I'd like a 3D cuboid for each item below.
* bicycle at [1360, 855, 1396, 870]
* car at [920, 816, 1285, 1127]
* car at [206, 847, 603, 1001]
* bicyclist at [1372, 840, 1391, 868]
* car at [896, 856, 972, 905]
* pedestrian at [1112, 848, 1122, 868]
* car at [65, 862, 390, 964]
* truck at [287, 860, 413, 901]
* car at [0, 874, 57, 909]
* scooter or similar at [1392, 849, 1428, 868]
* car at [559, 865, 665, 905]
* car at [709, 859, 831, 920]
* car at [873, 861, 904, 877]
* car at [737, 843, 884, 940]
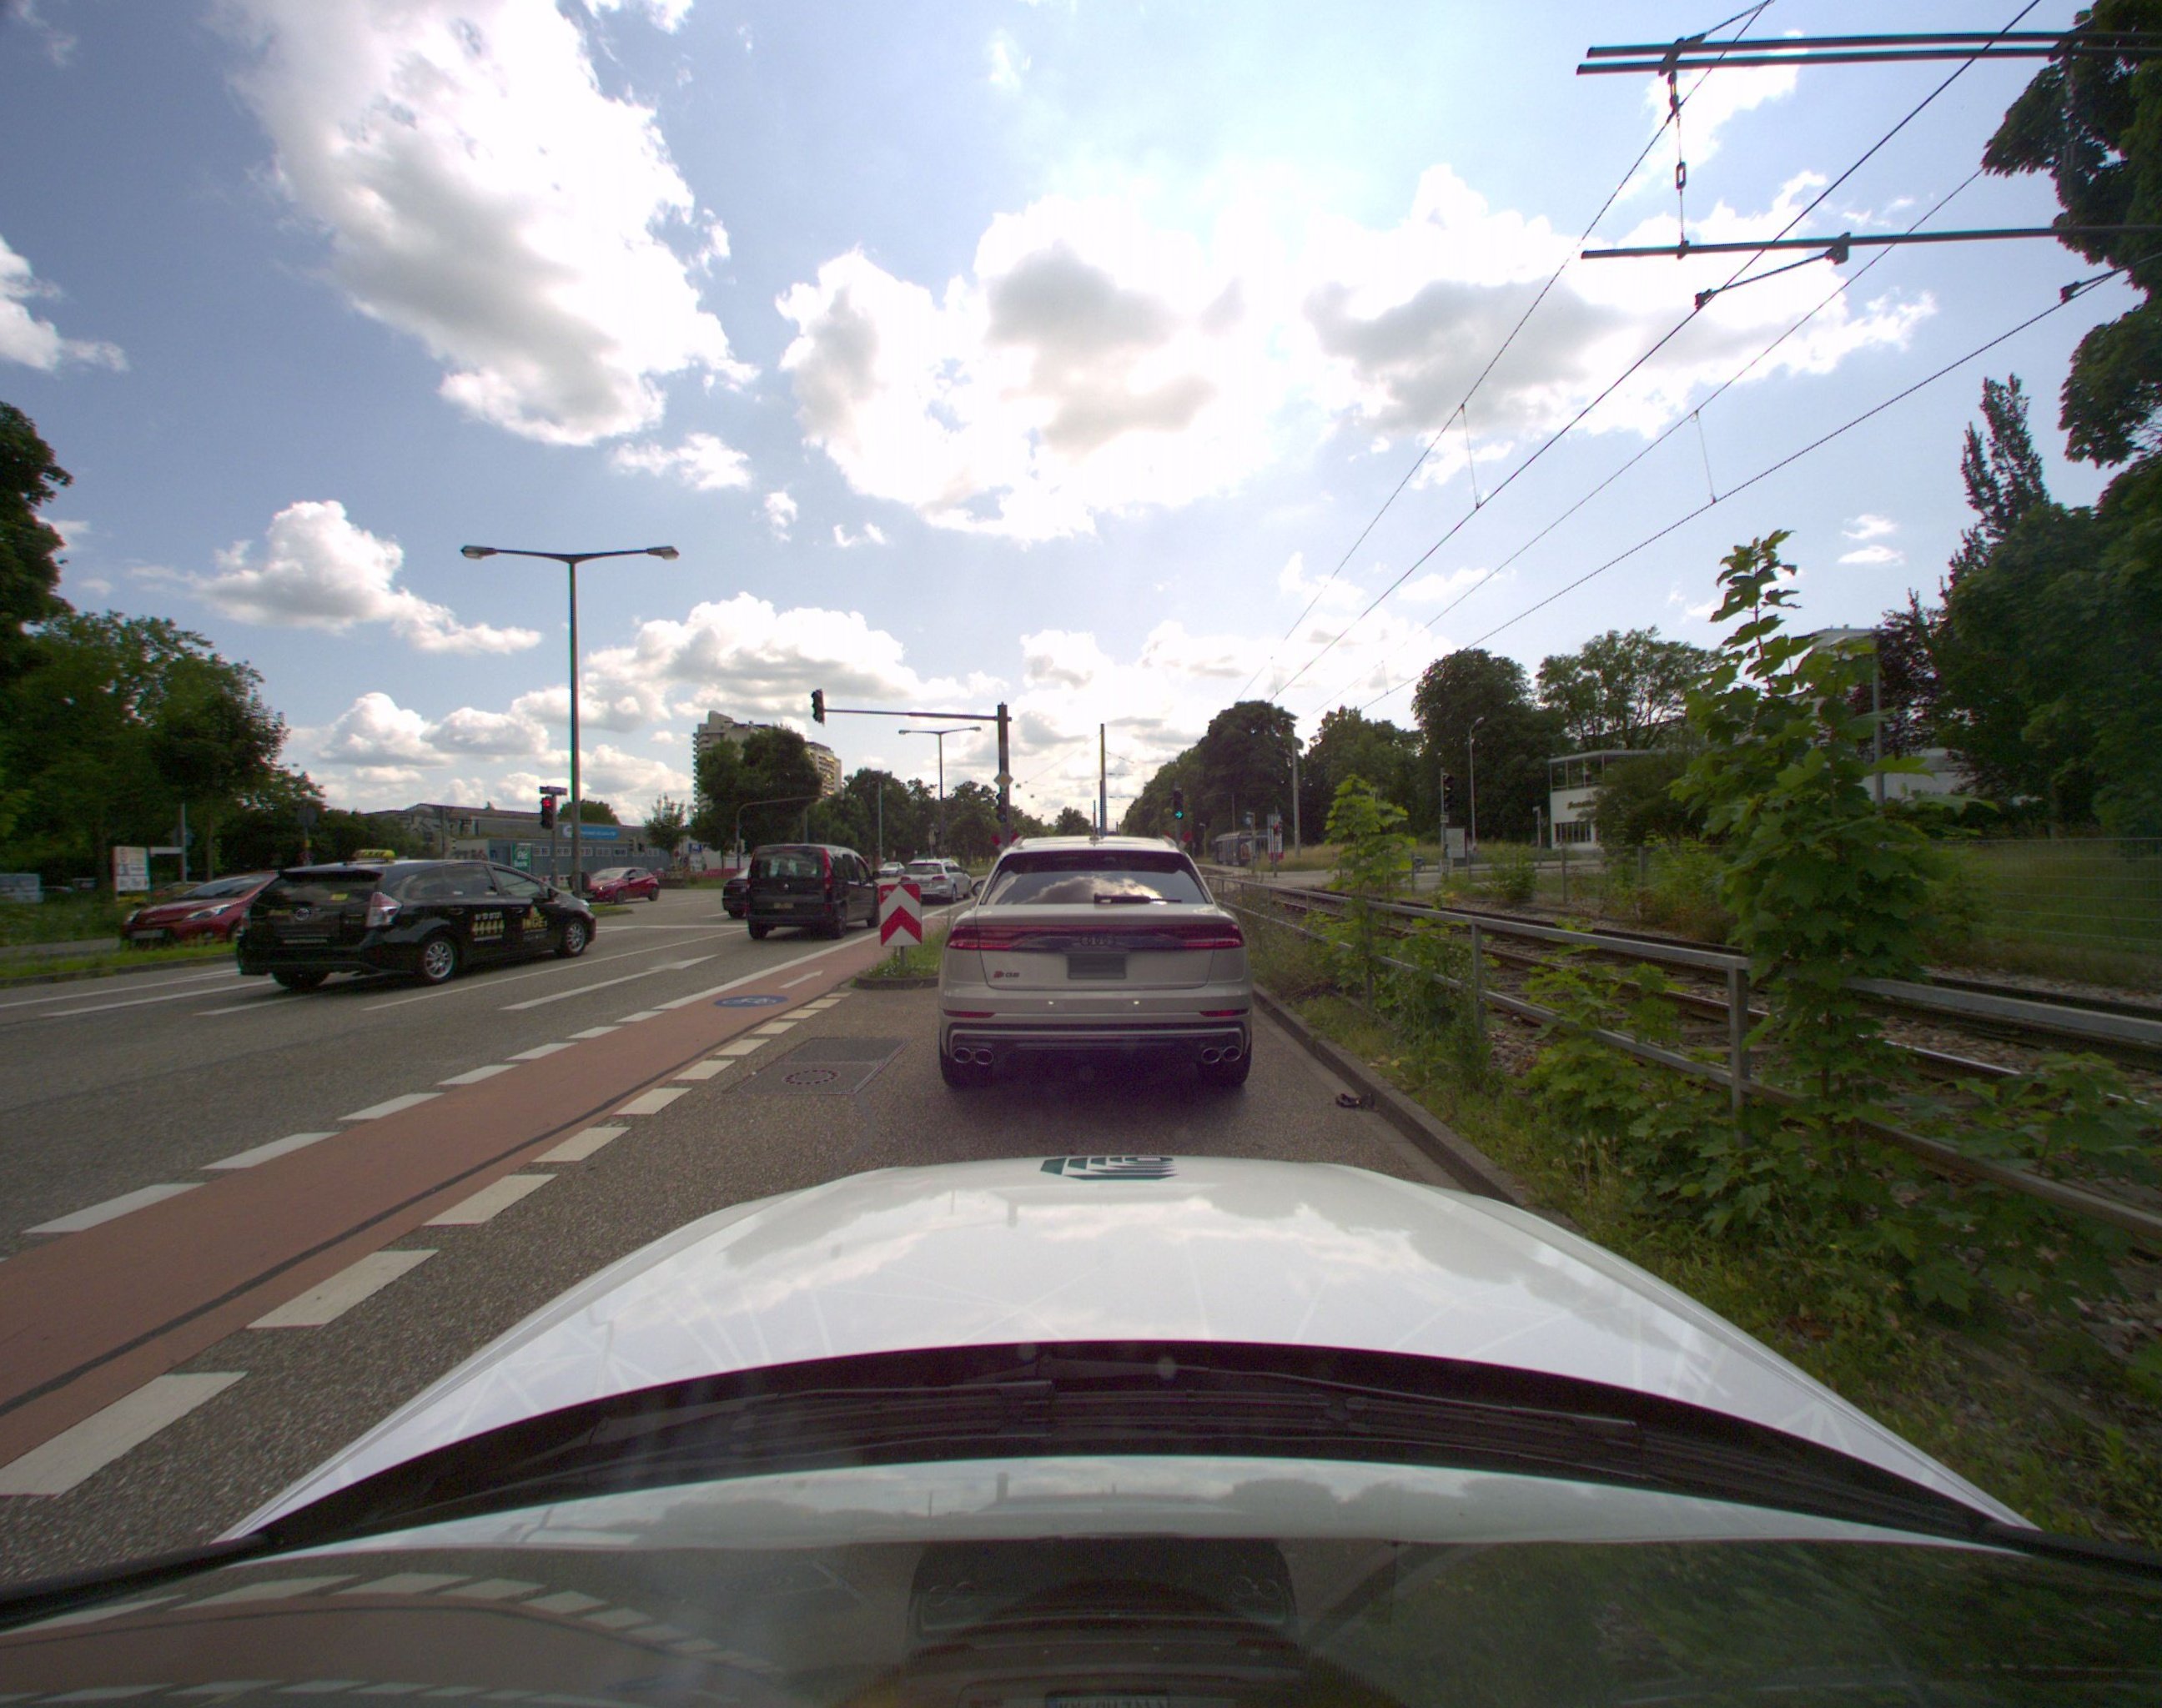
[{"bbox_3d":[16.143,0.460,44.277,1.714,0.765,0.556,-1,-1,3],"label":"bicycle"},{"bbox_3d":[0.186,0.660,6.729,1.974,1.684,4.576,0,-1,2],"label":"car"},{"bbox_3d":[-8.690,0.785,11.105,1.780,1.668,4.339,0,-1,0],"label":"car"},{"bbox_3d":[16.360,0.016,44.315,0.835,1.475,0.456,-2,-1,3],"label":"bicyclist"},{"bbox_3d":[-4.911,0.853,27.764,1.779,1.525,4.301,0,0,1],"label":"car"},{"bbox_3d":[2.900,0.326,64.942,0.653,1.513,0.716,-2,0,-8],"label":"pedestrian"},{"bbox_3d":[-15.974,1.003,15.629,1.987,1.618,3.999,-2,0,-1],"label":"car"},{"bbox_3d":[-47.489,1.739,52.955,6.906,2.439,3.054,-2,0,19],"label":"truck"},{"bbox_3d":[-58.427,2.010,44.515,3.578,1.793,1.946,-1,-1,18],"label":"car"},{"bbox_3d":[17.832,0.254,44.210,1.568,0.979,0.963,-2,-1,3],"label":"scooter or similar"},{"bbox_3d":[-18.847,1.208,32.925,1.880,1.512,4.001,0,-1,1],"label":"car"},{"bbox_3d":[-8.384,0.900,22.330,1.859,1.504,3.998,0,-1,-1],"label":"car"},{"bbox_3d":[-17.956,1.383,76.297,1.794,1.432,4.495,-2,0,0],"label":"car"},{"bbox_3d":[-5.431,0.702,16.900,1.754,1.777,3.908,0,-1,0],"label":"car"}]
